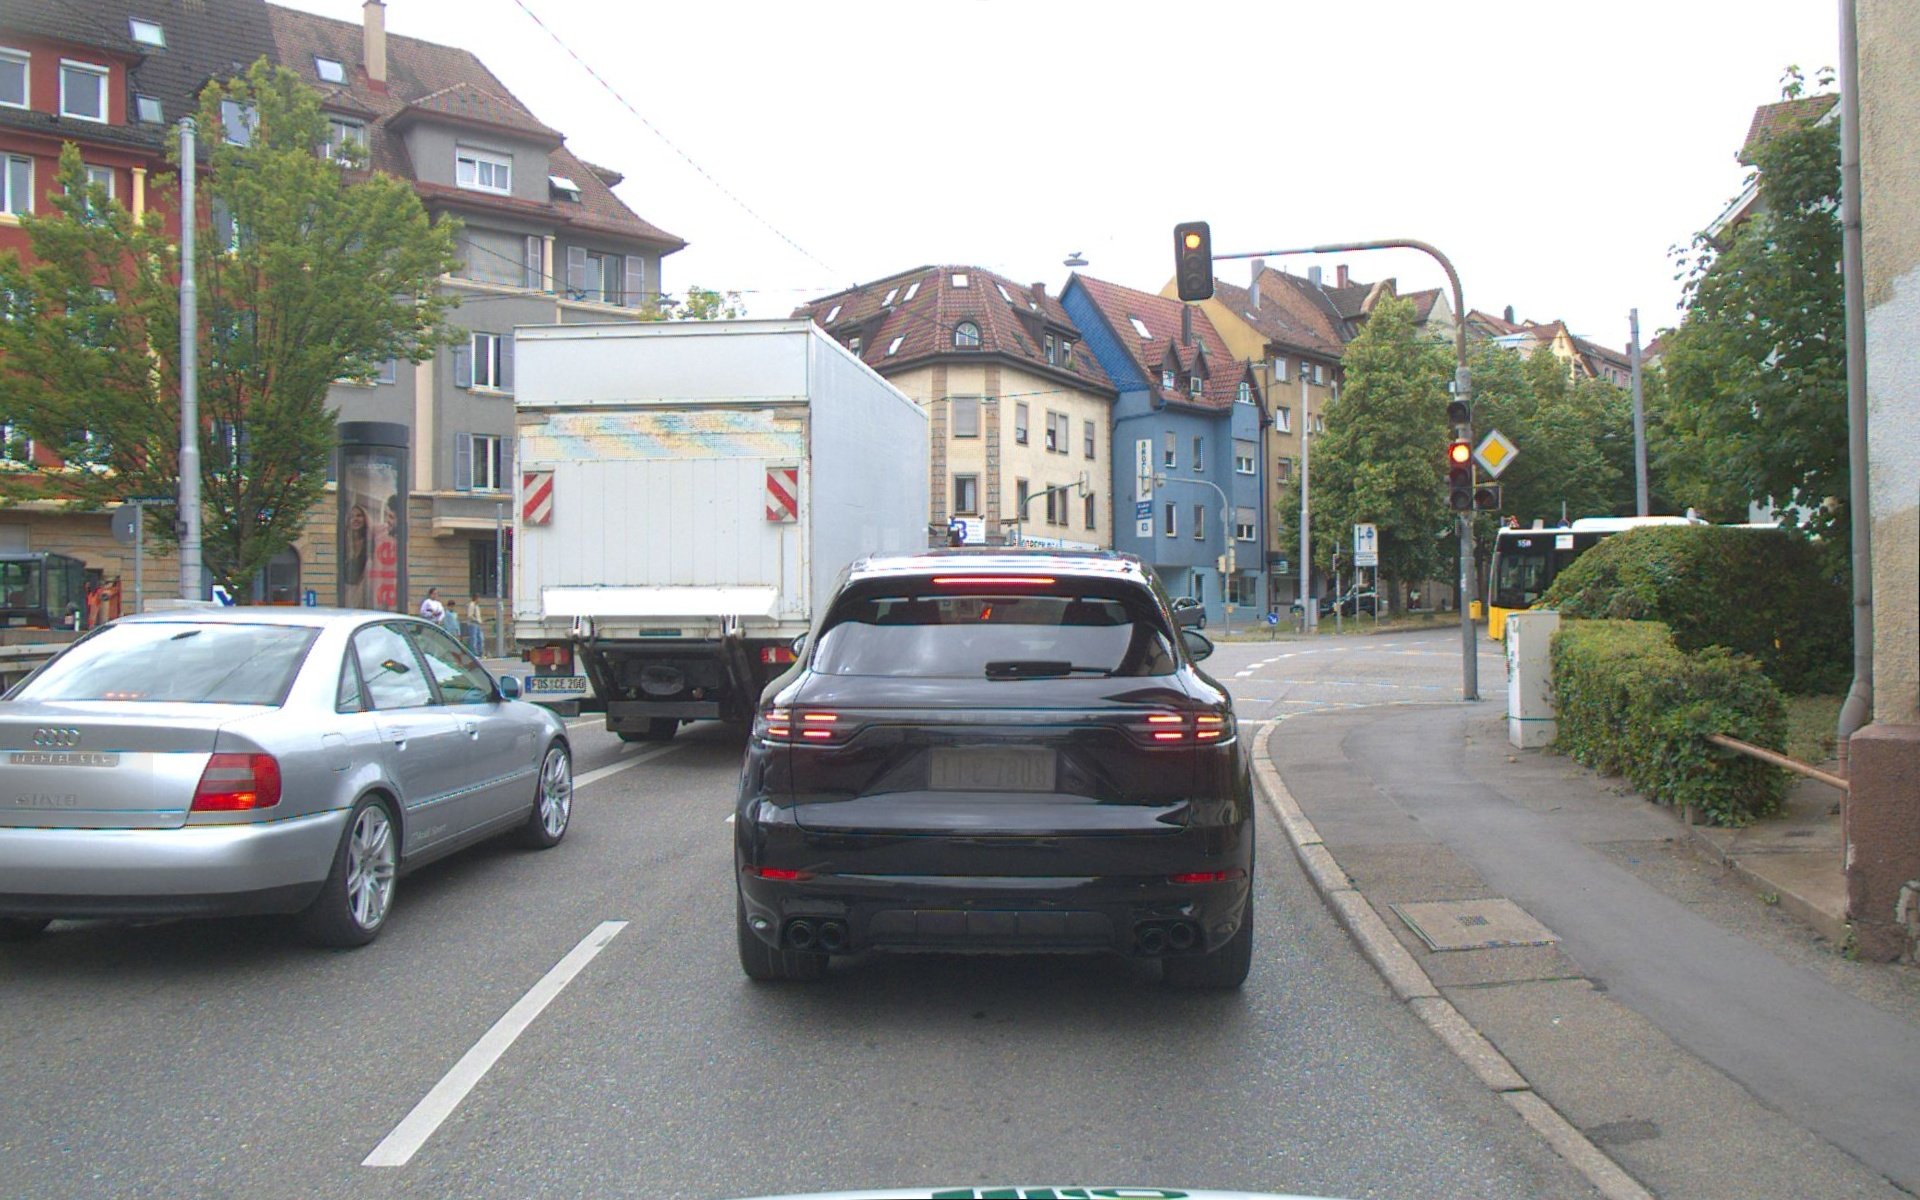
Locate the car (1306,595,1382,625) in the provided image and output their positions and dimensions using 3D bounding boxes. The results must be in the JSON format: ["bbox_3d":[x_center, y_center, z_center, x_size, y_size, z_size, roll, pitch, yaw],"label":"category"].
[{"bbox_3d":[19.378,0.529,83.405,1.841,1.441,4.673,1,0,40],"label":"car"}]

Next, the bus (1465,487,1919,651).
[{"bbox_3d":[17.064,-0.537,36.079,3.134,3.150,11.987,-1,-1,-37],"label":"bus"}]

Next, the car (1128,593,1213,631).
[{"bbox_3d":[9.095,0.538,71.248,1.690,1.502,4.197,0,-2,39],"label":"car"}]

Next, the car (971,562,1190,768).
[{"bbox_3d":[1.184,0.515,14.764,1.613,1.583,3.586,1,0,9],"label":"car"}]

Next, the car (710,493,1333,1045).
[{"bbox_3d":[0.171,0.543,7.596,1.990,1.753,4.499,1,0,-1],"label":"car"}]

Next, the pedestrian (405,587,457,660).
[{"bbox_3d":[-11.540,0.511,36.094,0.777,1.573,0.738,-1,0,26],"label":"pedestrian"}]

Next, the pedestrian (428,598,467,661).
[{"bbox_3d":[-11.406,0.653,36.827,0.564,1.361,0.582,-1,0,34],"label":"pedestrian"}]

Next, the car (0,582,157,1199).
[{"bbox_3d":[-2.711,0.717,1.185,1.953,1.454,4.841,-1,0,-1],"label":"car"}]

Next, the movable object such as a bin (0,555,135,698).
[{"bbox_3d":[-13.950,0.379,25.487,1.351,2.049,3.525,-1,0,-12],"label":"movable object such as a bin"}]

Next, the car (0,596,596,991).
[{"bbox_3d":[-3.122,0.692,7.981,1.594,1.389,4.130,-1,0,3],"label":"car"}]

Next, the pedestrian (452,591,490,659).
[{"bbox_3d":[-11.055,0.552,37.368,0.514,1.513,0.649,0,0,42],"label":"pedestrian"}]

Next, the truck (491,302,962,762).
[{"bbox_3d":[-1.876,-0.543,17.317,2.667,3.606,8.428,-1,0,8],"label":"truck"}]
